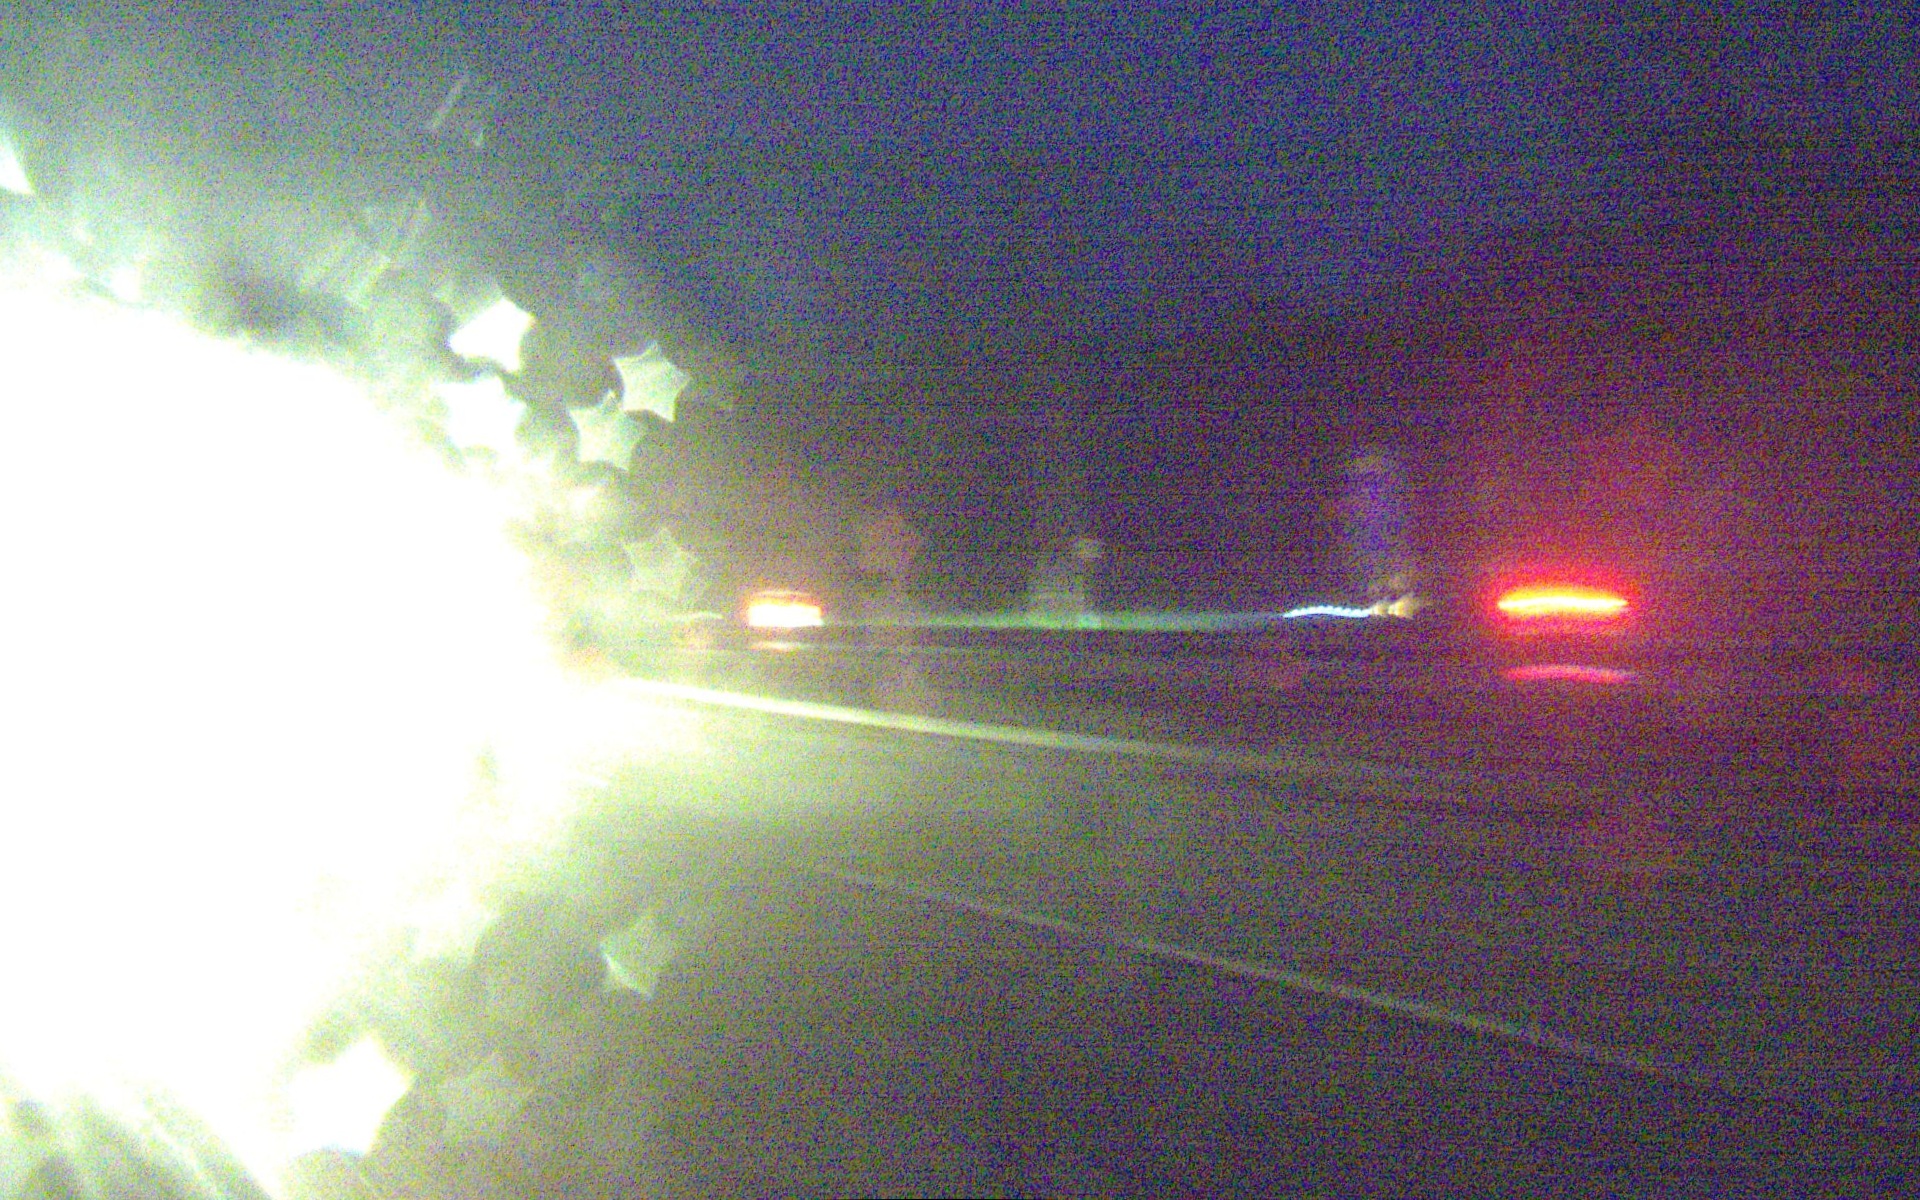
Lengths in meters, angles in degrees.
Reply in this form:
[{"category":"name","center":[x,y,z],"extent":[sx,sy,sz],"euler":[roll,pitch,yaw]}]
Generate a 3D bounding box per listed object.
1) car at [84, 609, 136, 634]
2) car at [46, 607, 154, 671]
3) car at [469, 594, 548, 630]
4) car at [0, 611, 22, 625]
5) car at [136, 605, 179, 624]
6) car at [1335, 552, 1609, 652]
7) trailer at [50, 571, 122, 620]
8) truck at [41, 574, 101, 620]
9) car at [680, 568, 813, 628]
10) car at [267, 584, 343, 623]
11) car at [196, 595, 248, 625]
[{"category":"car","center":[-56.169,1.371,66.880],"extent":[4.303,1.520,1.863],"euler":[0,1,40]},{"category":"car","center":[-23.219,1.024,27.292],"extent":[3.846,1.587,1.633],"euler":[-2,-1,40]},{"category":"car","center":[-19.911,0.498,44.608],"extent":[3.801,1.506,1.745],"euler":[0,1,41]},{"category":"car","center":[-111.906,2.075,119.171],"extent":[3.716,1.507,1.689],"euler":[0,1,40]},{"category":"car","center":[-64.188,1.170,80.931],"extent":[4.163,1.405,1.821],"euler":[-1,0,39]},{"category":"car","center":[9.527,0.015,18.991],"extent":[4.328,1.660,1.824],"euler":[0,1,39]},{"category":"trailer","center":[-78.513,-0.333,90.804],"extent":[11.716,4.205,3.320],"euler":[-1,0,42]},{"category":"truck","center":[-84.255,-0.255,95.888],"extent":[6.461,4.204,3.330],"euler":[-1,1,41]},{"category":"car","center":[-6.474,-0.025,30.452],"extent":[4.197,1.624,1.789],"euler":[-3,-1,42]},{"category":"car","center":[-34.081,0.167,52.593],"extent":[5.134,1.924,1.966],"euler":[0,1,41]},{"category":"car","center":[-50.295,0.647,68.958],"extent":[4.842,1.924,1.871],"euler":[0,1,41]}]
